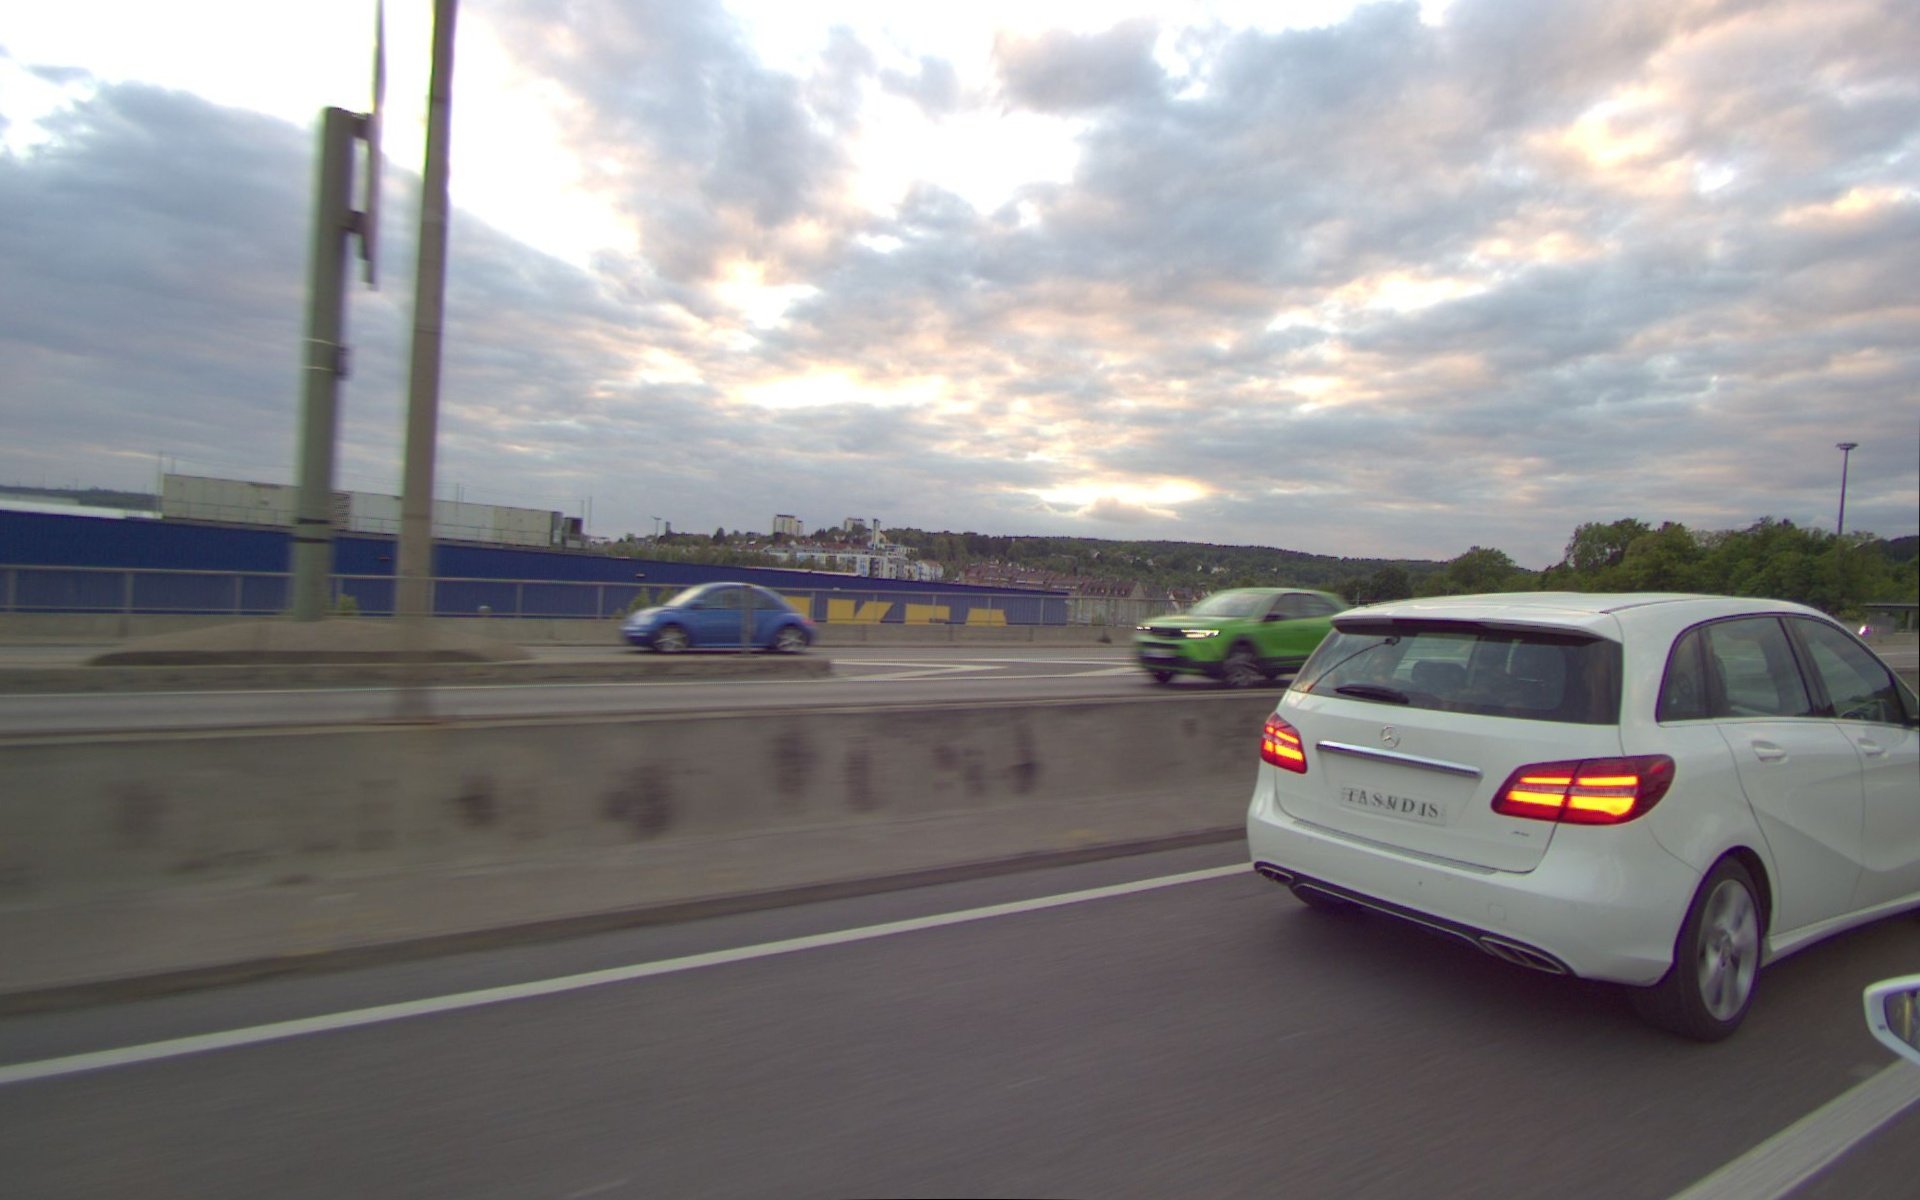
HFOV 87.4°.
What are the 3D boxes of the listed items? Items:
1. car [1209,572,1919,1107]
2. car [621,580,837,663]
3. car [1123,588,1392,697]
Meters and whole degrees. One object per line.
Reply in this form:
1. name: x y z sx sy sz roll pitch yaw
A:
1. car: 3.541 0.774 4.907 4.730 1.557 1.681 2 -1 -32
2. car: -4.891 0.448 21.313 4.111 1.617 1.890 1 0 -28
3. car: 4.680 0.660 15.692 4.032 1.514 1.703 2 -1 -30
